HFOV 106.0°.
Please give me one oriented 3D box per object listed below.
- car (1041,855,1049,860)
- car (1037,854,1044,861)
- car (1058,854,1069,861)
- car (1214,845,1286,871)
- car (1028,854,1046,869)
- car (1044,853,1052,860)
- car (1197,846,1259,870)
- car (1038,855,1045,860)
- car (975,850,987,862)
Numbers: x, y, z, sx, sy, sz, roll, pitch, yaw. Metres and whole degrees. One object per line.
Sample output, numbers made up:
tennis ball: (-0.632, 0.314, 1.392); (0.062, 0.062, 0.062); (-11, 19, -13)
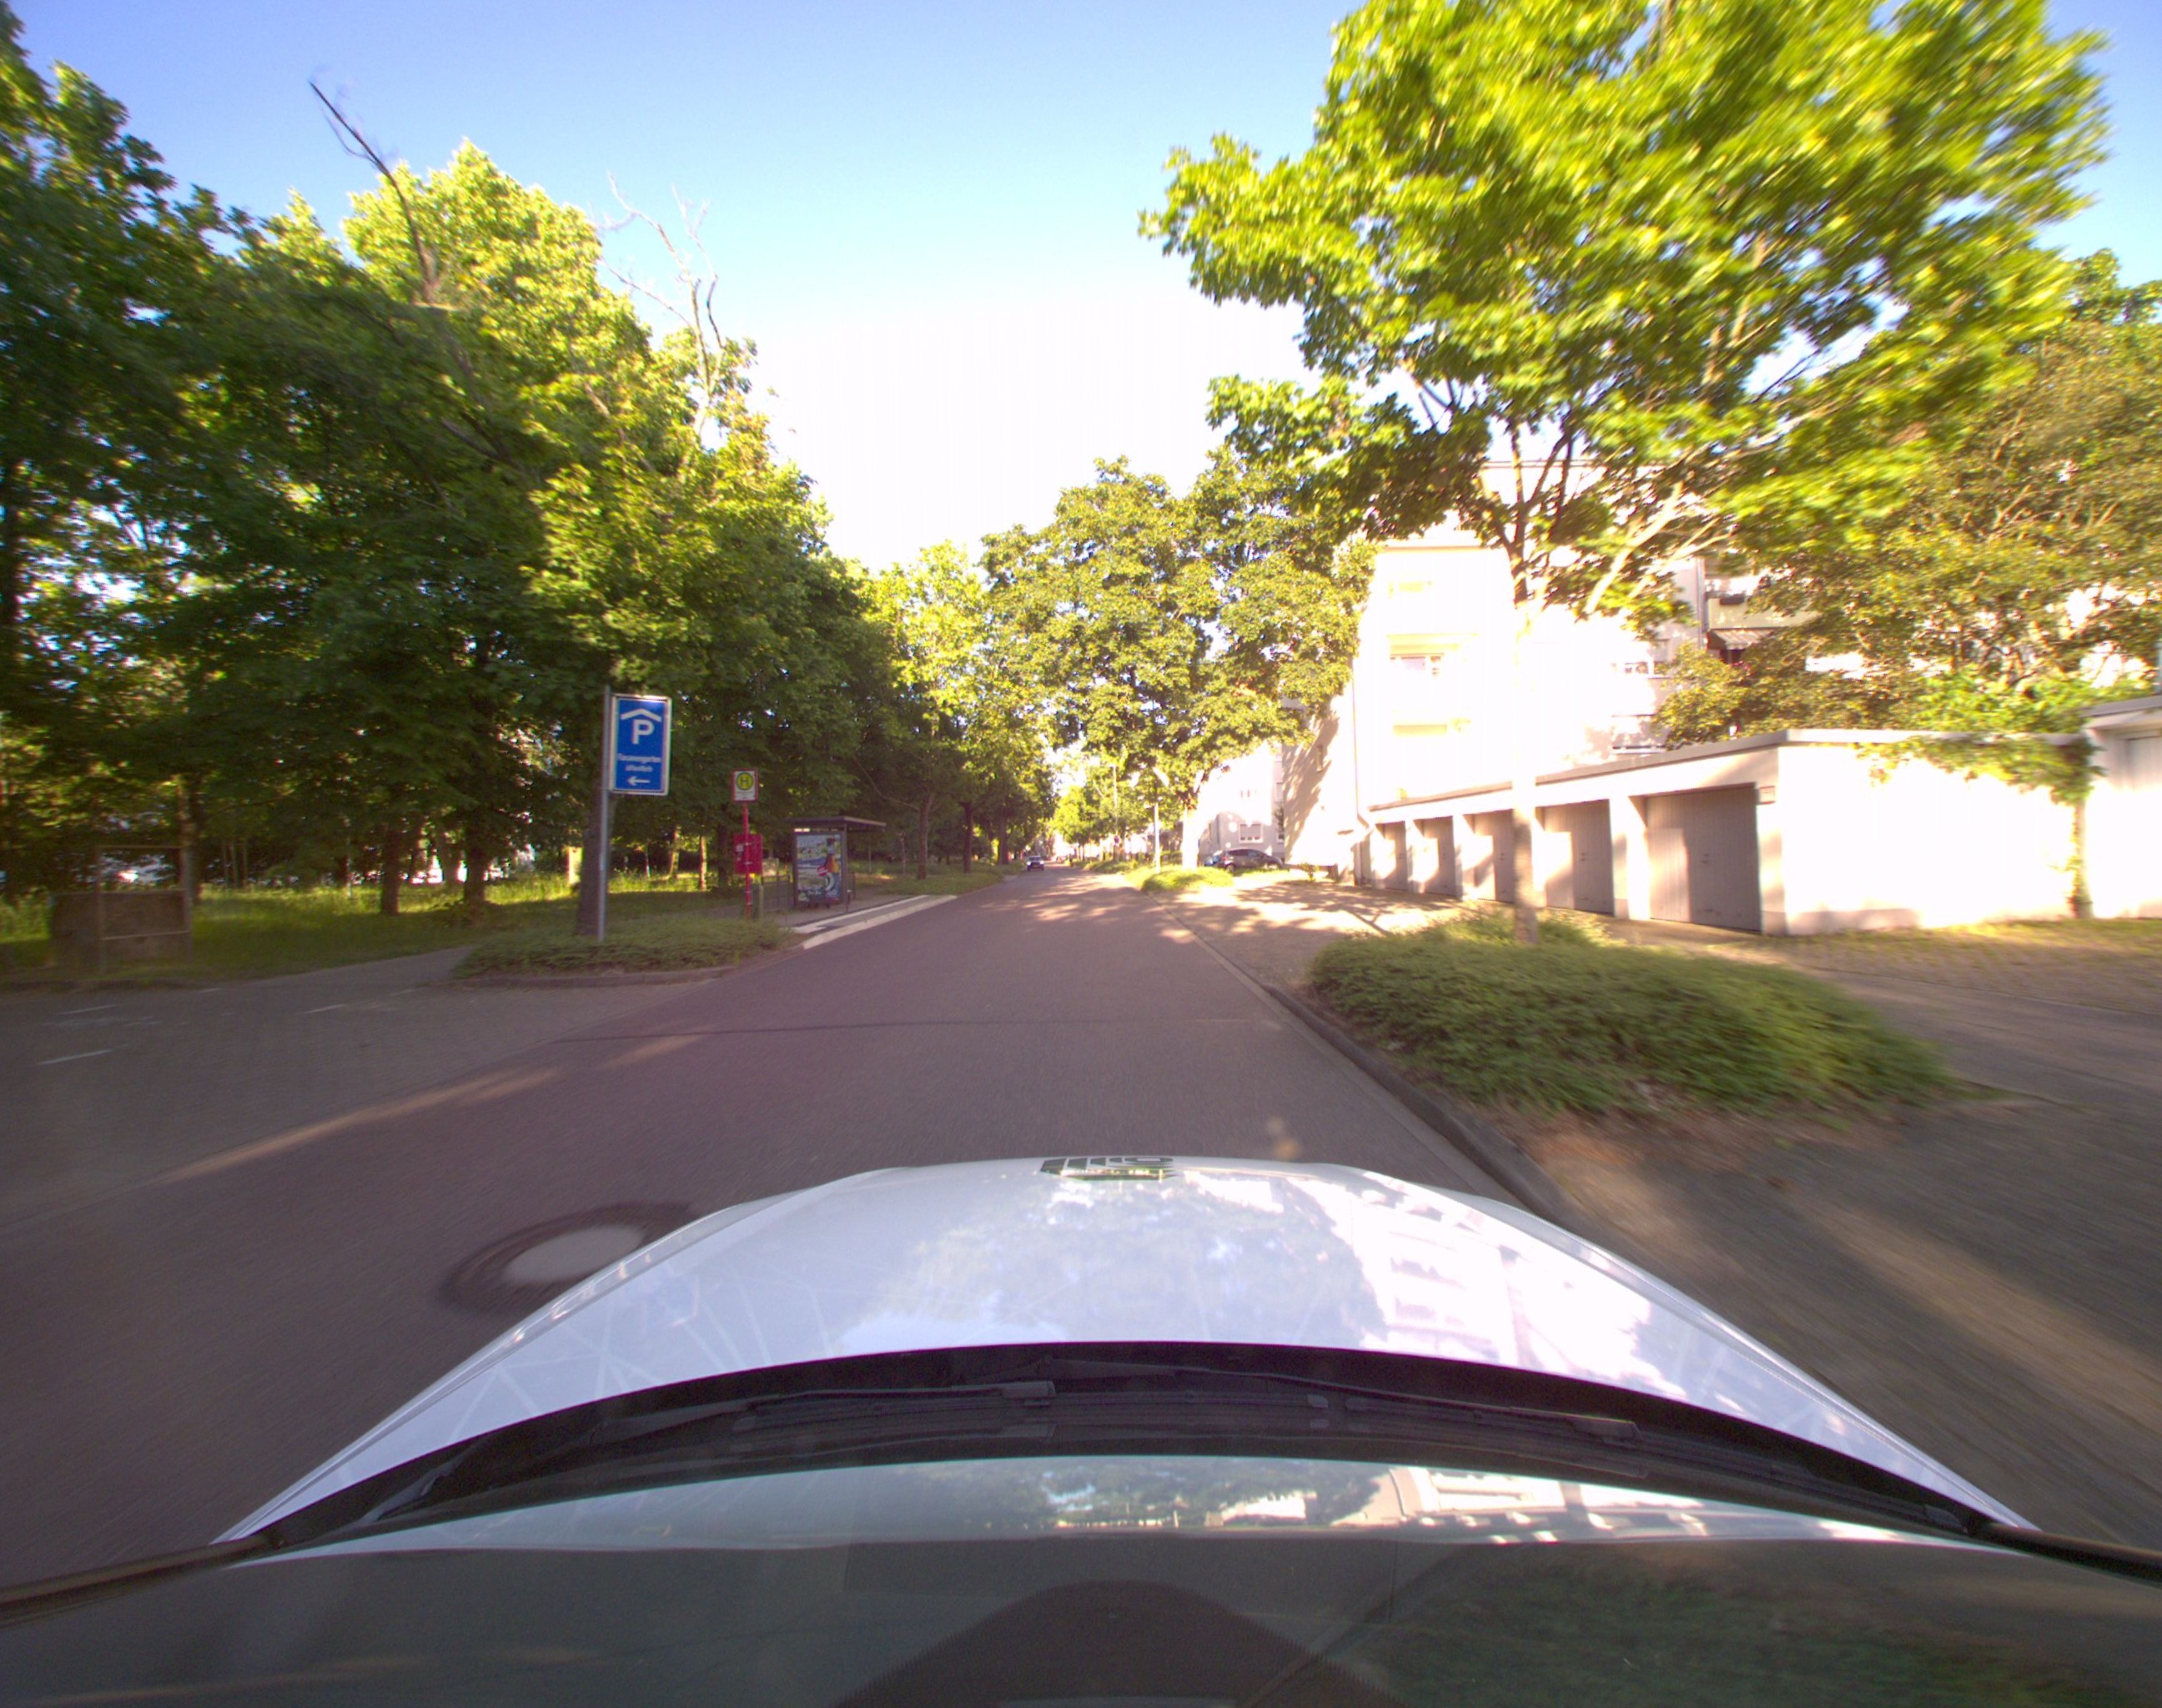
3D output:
car: (-10.111, 1.024, 227.724); (1.810, 1.501, 3.990); (0, 0, -7)
car: (-12.076, 0.974, 244.350); (1.810, 2.050, 3.990); (0, 0, -7)
car: (-4.147, 0.856, 191.292); (1.812, 1.501, 3.985); (-2, 0, -11)
car: (10.372, 0.271, 50.187); (4.031, 1.514, 1.725); (-1, -2, -3)
car: (-4.794, 0.796, 89.479); (1.840, 1.578, 4.331); (-3, 0, -3)
car: (-8.802, 0.768, 219.672); (1.810, 1.925, 3.990); (0, 0, -7)
car: (10.426, 0.280, 57.978); (3.979, 1.581, 1.807); (-2, 1, -4)
car: (-11.348, 1.074, 234.178); (1.810, 1.501, 3.990); (0, 0, -7)
car: (-20.473, 0.400, 166.622); (1.995, 2.508, 3.983); (0, 0, -12)
